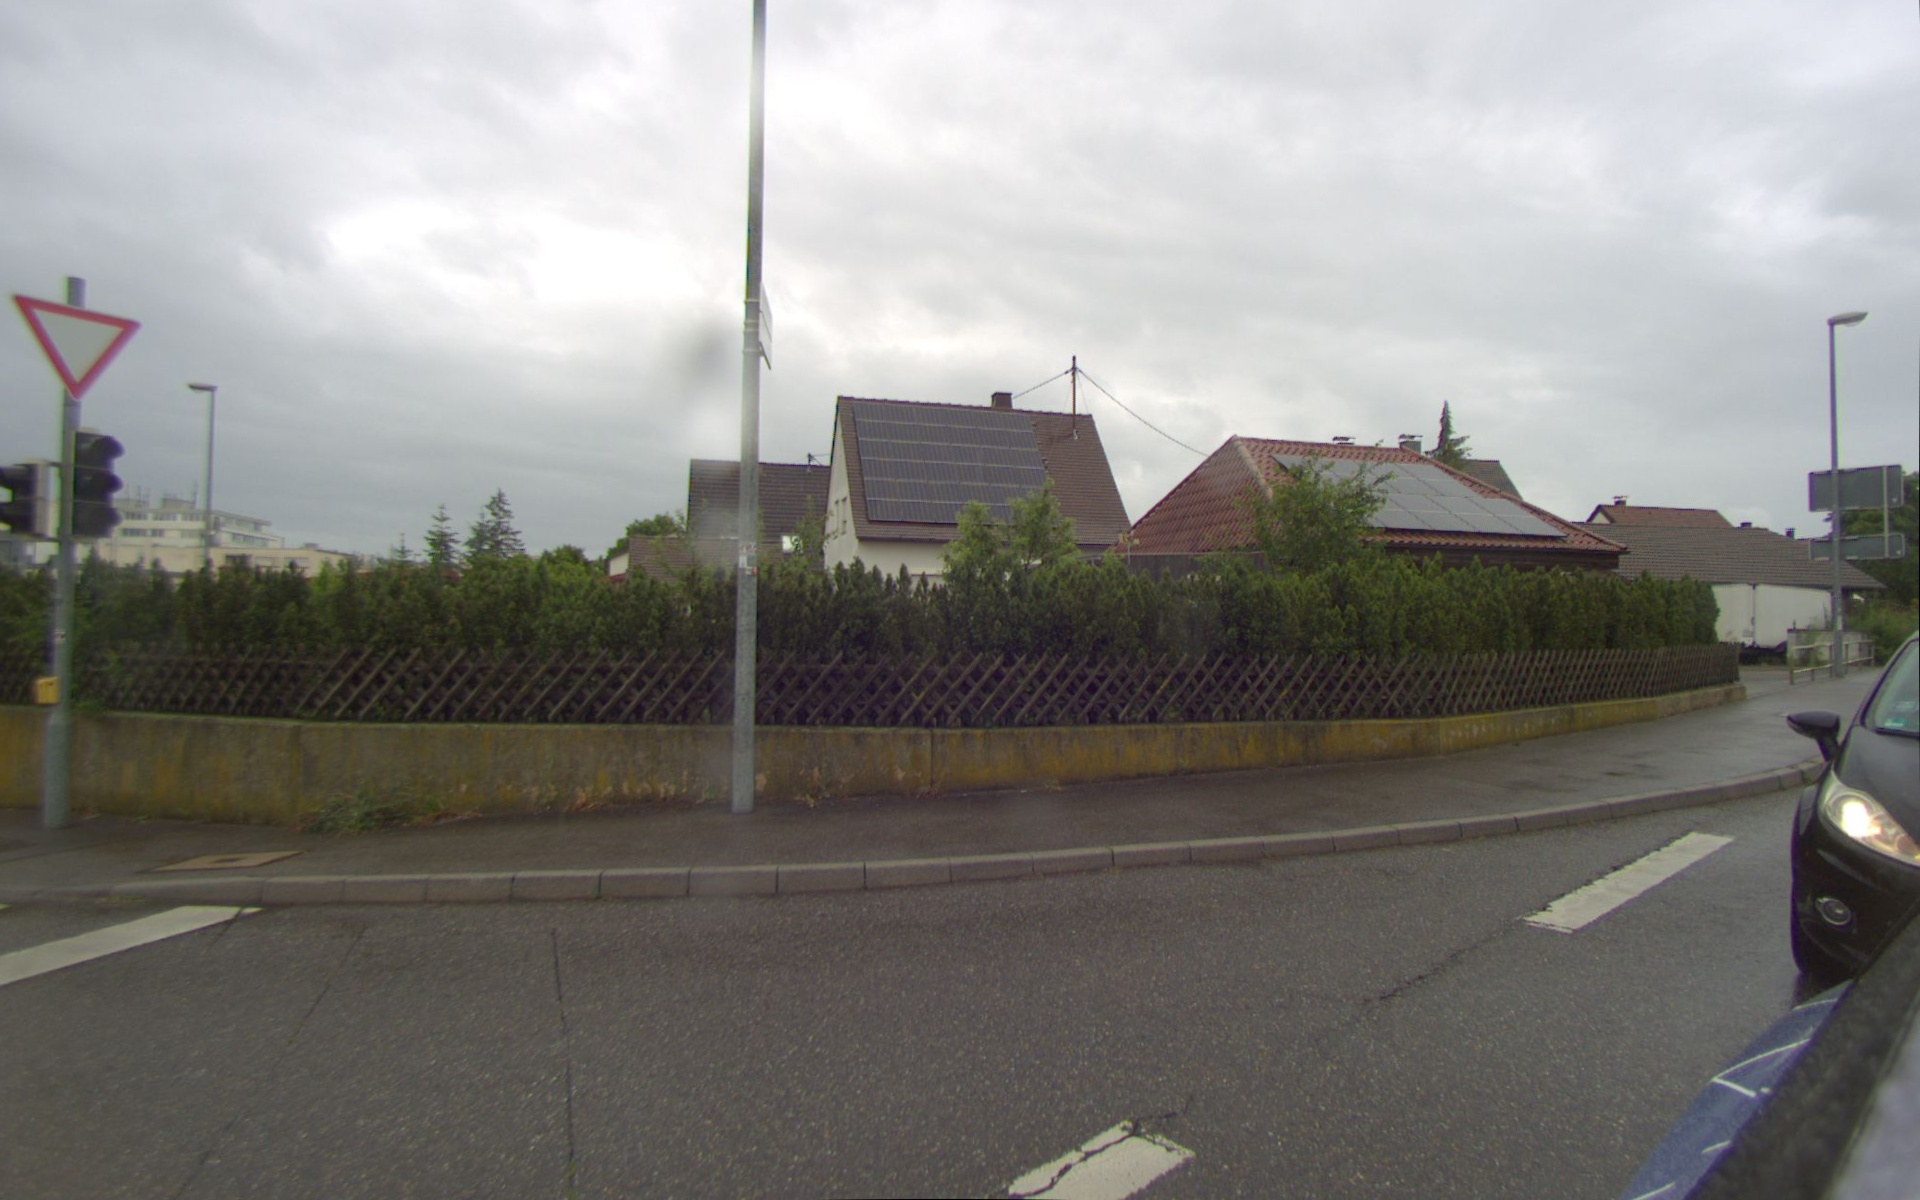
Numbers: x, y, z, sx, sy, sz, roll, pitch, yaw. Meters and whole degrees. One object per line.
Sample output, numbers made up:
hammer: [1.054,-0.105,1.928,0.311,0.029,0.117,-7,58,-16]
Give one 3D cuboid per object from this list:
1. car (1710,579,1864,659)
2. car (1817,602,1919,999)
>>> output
car: [25.460,0.559,31.184,3.916,2.380,1.657,0,-1,-14]
car: [5.358,0.756,4.708,3.867,1.436,1.663,-1,1,-43]
